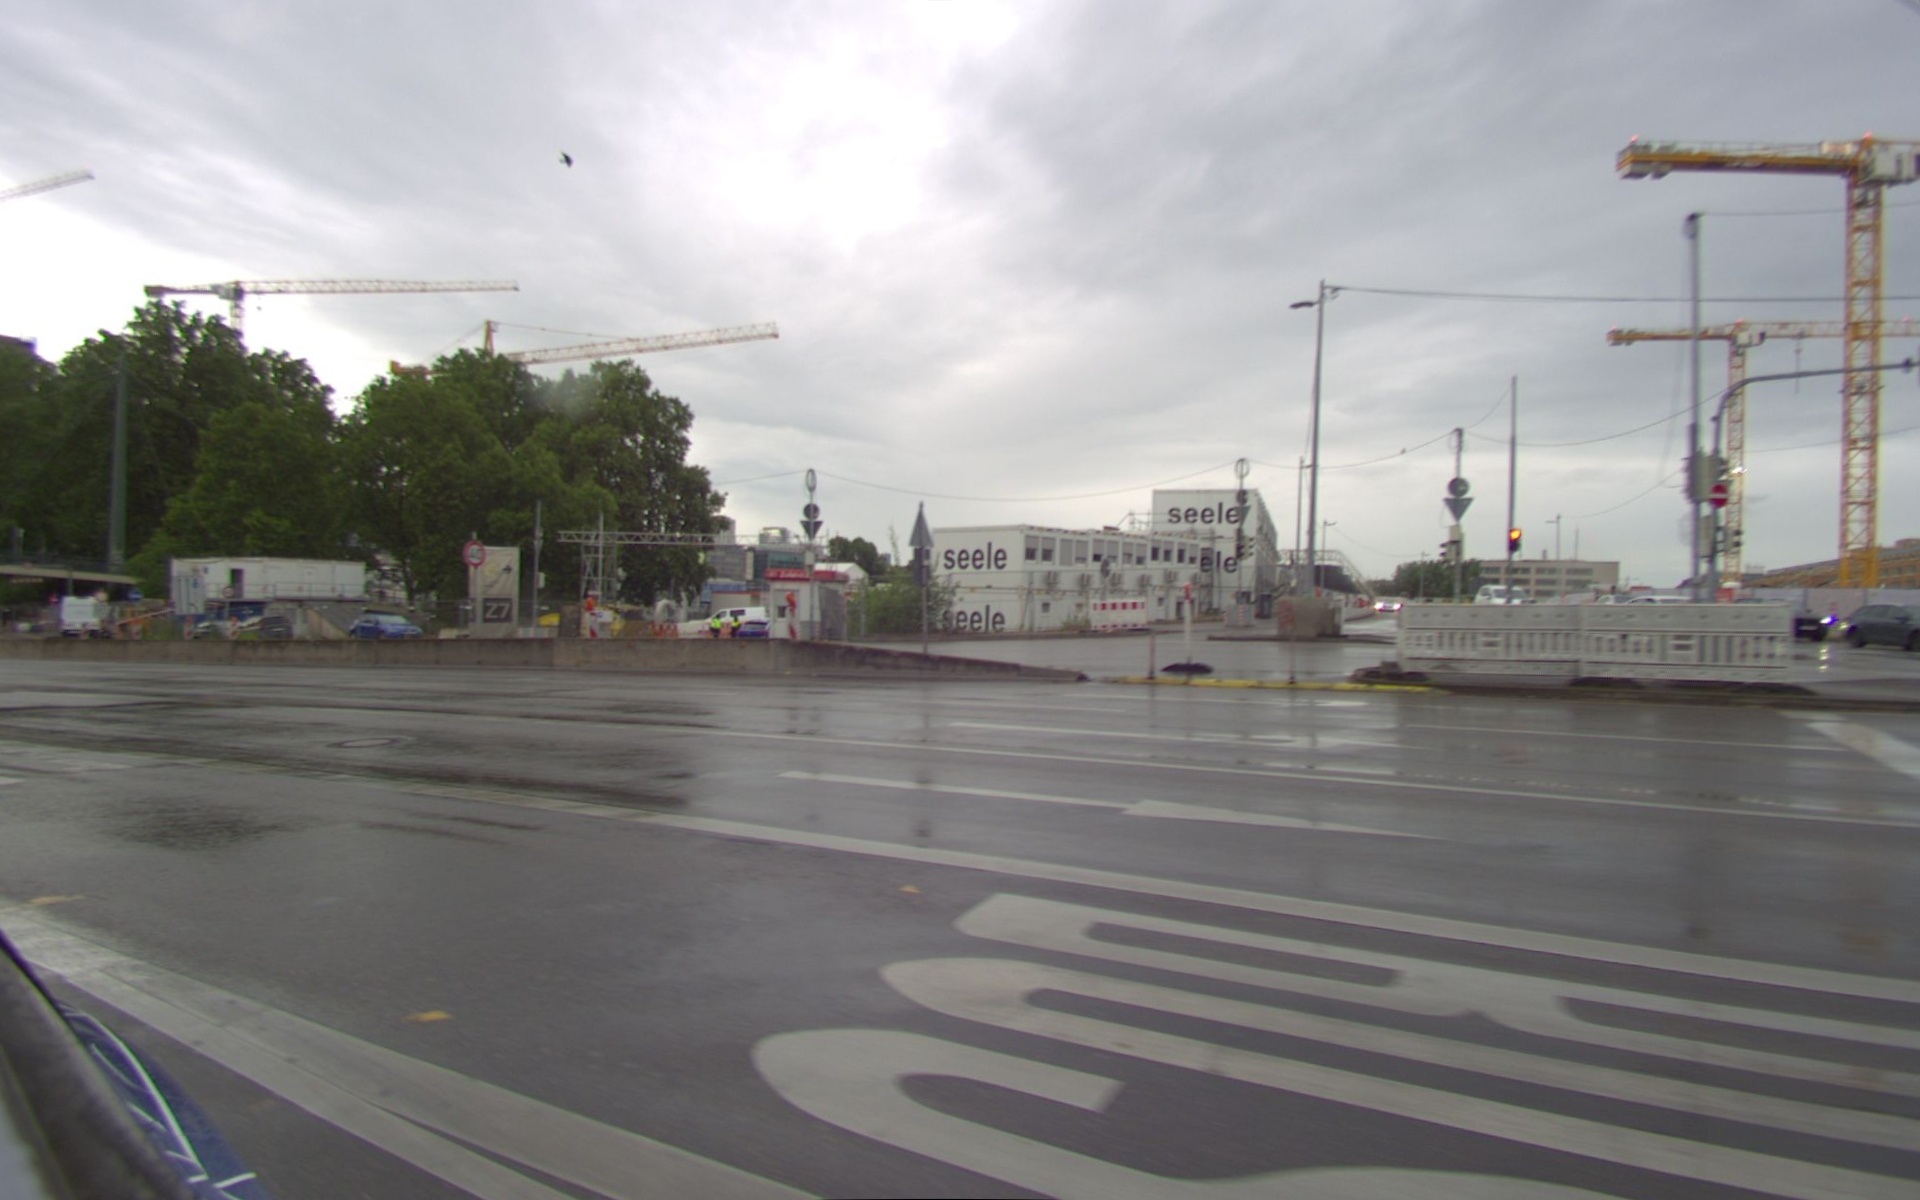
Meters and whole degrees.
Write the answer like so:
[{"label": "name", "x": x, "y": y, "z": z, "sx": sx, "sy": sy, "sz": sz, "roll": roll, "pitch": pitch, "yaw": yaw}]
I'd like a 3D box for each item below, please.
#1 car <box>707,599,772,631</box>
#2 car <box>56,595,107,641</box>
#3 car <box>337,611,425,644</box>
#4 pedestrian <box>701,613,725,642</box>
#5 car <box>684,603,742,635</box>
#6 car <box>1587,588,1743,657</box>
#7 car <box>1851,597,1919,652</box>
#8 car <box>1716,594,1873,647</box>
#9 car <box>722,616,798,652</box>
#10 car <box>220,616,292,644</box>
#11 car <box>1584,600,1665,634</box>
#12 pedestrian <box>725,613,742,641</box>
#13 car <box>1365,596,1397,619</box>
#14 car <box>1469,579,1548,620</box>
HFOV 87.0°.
[{"label": "car", "x": -17.348, "y": 1.181, "z": 79.885, "sx": 4.871, "sy": 2.402, "sz": 2.003, "roll": 0, "pitch": -1, "yaw": -7}, {"label": "car", "x": -54.114, "y": 1.107, "z": 62.380, "sx": 2.046, "sy": 2.759, "sz": 4.603, "roll": 0, "pitch": -1, "yaw": -37}, {"label": "car", "x": -27.397, "y": 1.302, "z": 47.873, "sx": 4.427, "sy": 1.501, "sz": 1.821, "roll": -1, "pitch": -1, "yaw": 34}, {"label": "pedestrian", "x": -11.741, "y": 1.322, "z": 48.062, "sx": 0.836, "sy": 1.363, "sz": 0.736, "roll": -1, "pitch": -1, "yaw": 34}, {"label": "car", "x": -18.849, "y": 1.455, "z": 77.381, "sx": 3.946, "sy": 2.402, "sz": 1.999, "roll": 0, "pitch": -1, "yaw": 2}, {"label": "car", "x": 22.026, "y": 0.701, "z": 31.863, "sx": 1.974, "sy": 2.029, "sz": 4.418, "roll": 0, "pitch": -1, "yaw": 4}, {"label": "car", "x": 28.546, "y": 0.701, "z": 29.655, "sx": 1.840, "sy": 1.578, "sz": 3.792, "roll": -1, "pitch": -1, "yaw": 8}, {"label": "car", "x": 29.029, "y": 0.698, "z": 35.423, "sx": 1.974, "sy": 1.730, "sz": 4.418, "roll": 0, "pitch": -1, "yaw": 4}, {"label": "car", "x": -9.419, "y": 1.569, "z": 48.016, "sx": 1.981, "sy": 1.519, "sz": 3.981, "roll": -1, "pitch": 0, "yaw": 15}, {"label": "car", "x": -38.516, "y": 1.615, "z": 55.331, "sx": 4.429, "sy": 1.501, "sz": 1.820, "roll": -1, "pitch": -1, "yaw": 35}, {"label": "car", "x": 32.213, "y": 0.844, "z": 49.214, "sx": 1.982, "sy": 1.569, "sz": 4.502, "roll": -1, "pitch": -1, "yaw": 15}, {"label": "pedestrian", "x": -10.938, "y": 1.294, "z": 48.806, "sx": 0.733, "sy": 1.363, "sz": 0.839, "roll": -1, "pitch": -1, "yaw": -8}, {"label": "car", "x": 34.567, "y": 0.613, "z": 83.162, "sx": 1.984, "sy": 1.785, "sz": 4.331, "roll": -1, "pitch": -1, "yaw": 18}, {"label": "car", "x": 25.771, "y": 0.007, "z": 47.731, "sx": 1.979, "sy": 1.785, "sz": 4.342, "roll": -1, "pitch": -1, "yaw": 11}]
